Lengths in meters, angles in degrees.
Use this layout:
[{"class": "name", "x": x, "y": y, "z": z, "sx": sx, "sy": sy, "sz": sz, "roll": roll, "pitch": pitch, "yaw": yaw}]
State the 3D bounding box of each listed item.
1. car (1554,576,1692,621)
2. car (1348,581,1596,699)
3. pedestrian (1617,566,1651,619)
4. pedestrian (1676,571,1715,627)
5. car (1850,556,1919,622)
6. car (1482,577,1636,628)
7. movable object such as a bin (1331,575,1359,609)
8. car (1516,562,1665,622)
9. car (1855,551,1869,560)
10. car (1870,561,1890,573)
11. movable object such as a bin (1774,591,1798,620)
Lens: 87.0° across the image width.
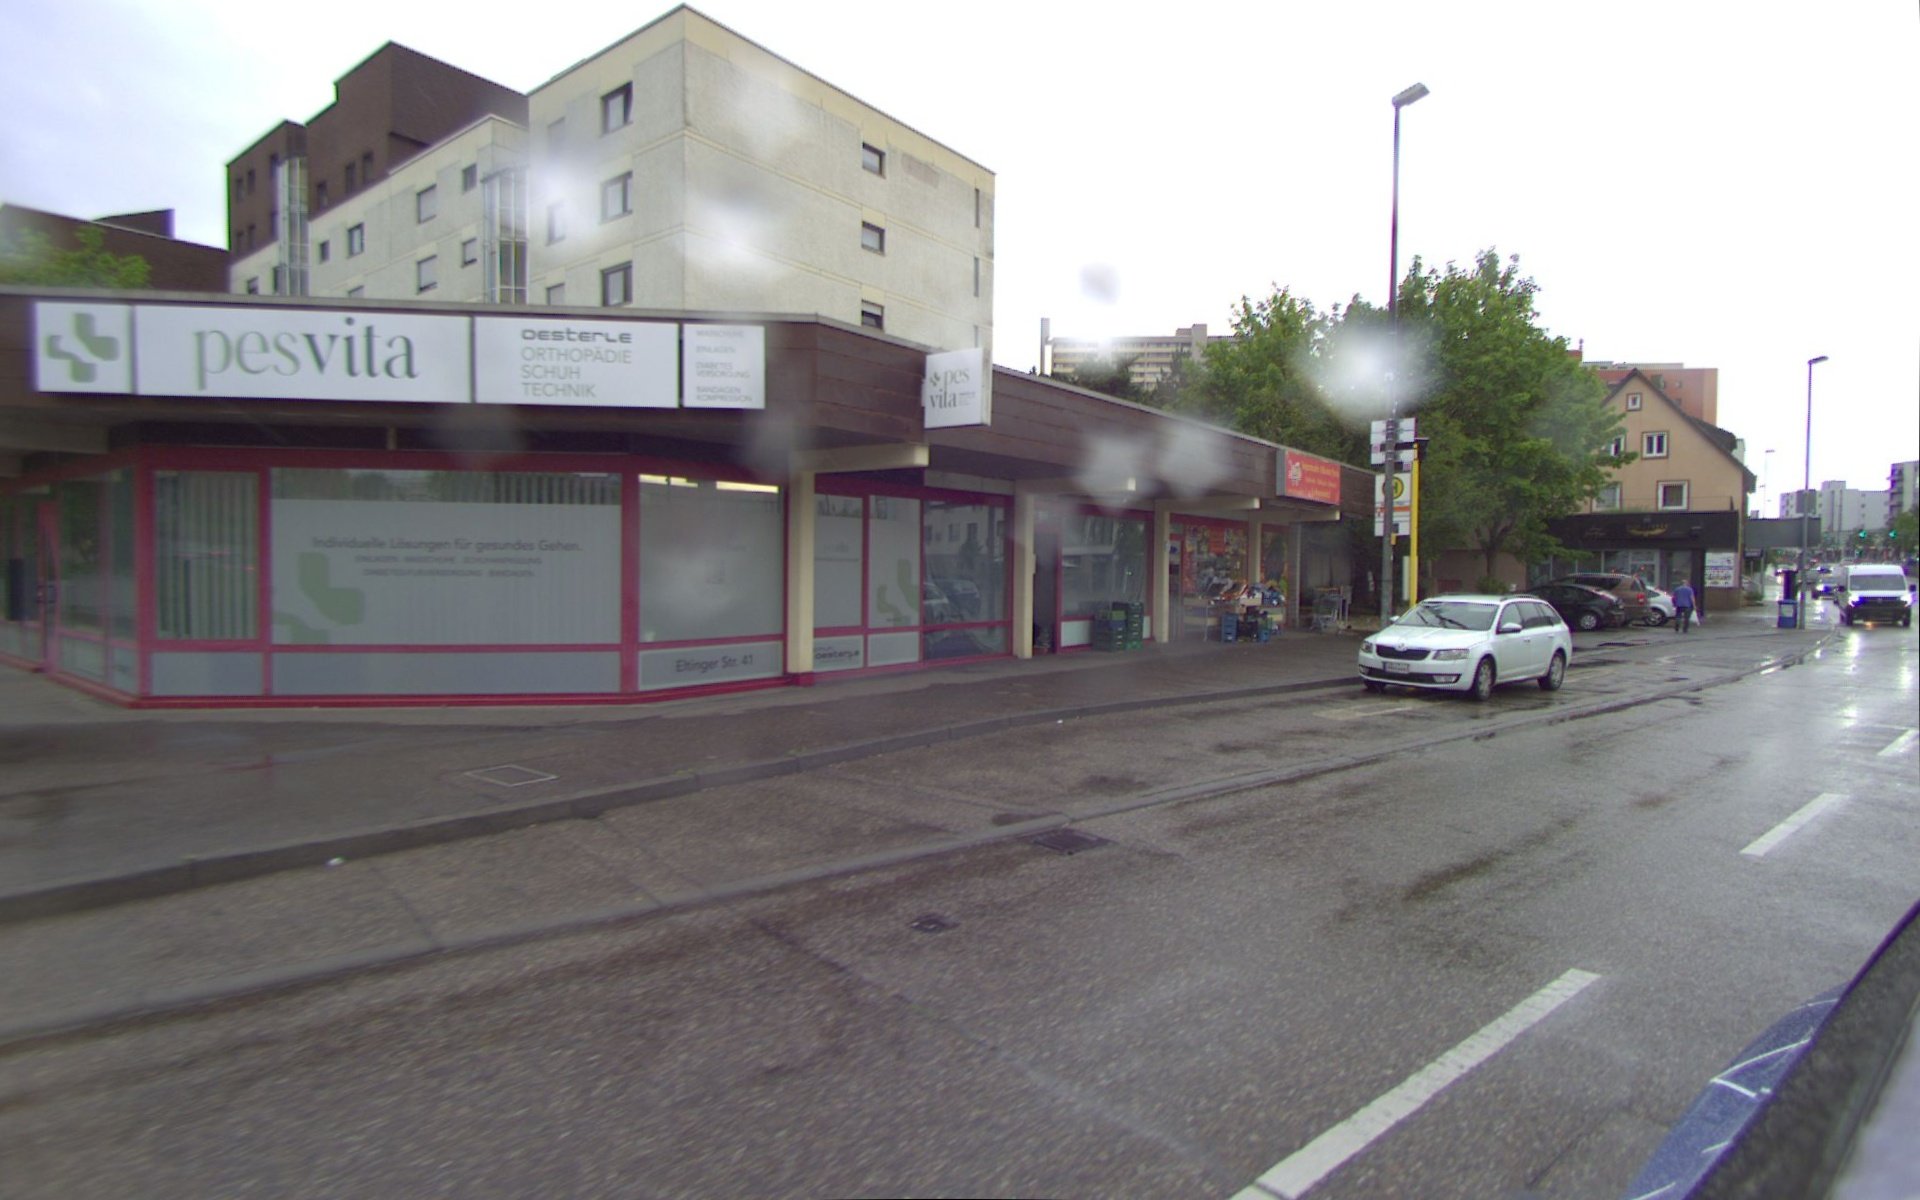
[{"class": "car", "x": 24.535, "y": -0.085, "z": 37.529, "sx": 3.989, "sy": 1.465, "sz": 1.718, "roll": 3, "pitch": 3, "yaw": 45}, {"class": "car", "x": 7.969, "y": 0.505, "z": 15.578, "sx": 4.400, "sy": 1.516, "sz": 1.735, "roll": 0, "pitch": 3, "yaw": -39}, {"class": "pedestrian", "x": 24.051, "y": -0.266, "z": 36.117, "sx": 0.700, "sy": 1.843, "sz": 0.794, "roll": 0, "pitch": 3, "yaw": 13}, {"class": "pedestrian", "x": 23.903, "y": -0.049, "z": 32.893, "sx": 0.875, "sy": 1.758, "sz": 0.748, "roll": 3, "pitch": 2, "yaw": 41}, {"class": "car", "x": 39.429, "y": -0.563, "z": 42.942, "sx": 2.291, "sy": 2.410, "sz": 6.526, "roll": 3, "pitch": 5, "yaw": 43}, {"class": "car", "x": 19.974, "y": 0.044, "z": 33.854, "sx": 4.146, "sy": 1.471, "sz": 1.776, "roll": 3, "pitch": 4, "yaw": 42}, {"class": "movable object such as a bin", "x": 12.336, "y": -0.266, "z": 32.427, "sx": 0.643, "sy": 1.069, "sz": 0.632, "roll": 2, "pitch": 2, "yaw": 38}, {"class": "car", "x": 21.994, "y": -0.324, "z": 35.381, "sx": 4.097, "sy": 1.894, "sz": 1.846, "roll": 3, "pitch": 3, "yaw": 45}, {"class": "car", "x": 164.024, "y": -8.044, "z": 183.982, "sx": 1.647, "sy": 1.434, "sz": 4.082, "roll": 5, "pitch": 6, "yaw": 39}, {"class": "car", "x": 136.499, "y": -4.927, "z": 150.147, "sx": 1.877, "sy": 1.542, "sz": 4.128, "roll": 3, "pitch": 5, "yaw": 38}, {"class": "movable object such as a bin", "x": 31.459, "y": 0.210, "z": 38.554, "sx": 0.636, "sy": 1.088, "sz": 0.687, "roll": 3, "pitch": 1, "yaw": 42}]
